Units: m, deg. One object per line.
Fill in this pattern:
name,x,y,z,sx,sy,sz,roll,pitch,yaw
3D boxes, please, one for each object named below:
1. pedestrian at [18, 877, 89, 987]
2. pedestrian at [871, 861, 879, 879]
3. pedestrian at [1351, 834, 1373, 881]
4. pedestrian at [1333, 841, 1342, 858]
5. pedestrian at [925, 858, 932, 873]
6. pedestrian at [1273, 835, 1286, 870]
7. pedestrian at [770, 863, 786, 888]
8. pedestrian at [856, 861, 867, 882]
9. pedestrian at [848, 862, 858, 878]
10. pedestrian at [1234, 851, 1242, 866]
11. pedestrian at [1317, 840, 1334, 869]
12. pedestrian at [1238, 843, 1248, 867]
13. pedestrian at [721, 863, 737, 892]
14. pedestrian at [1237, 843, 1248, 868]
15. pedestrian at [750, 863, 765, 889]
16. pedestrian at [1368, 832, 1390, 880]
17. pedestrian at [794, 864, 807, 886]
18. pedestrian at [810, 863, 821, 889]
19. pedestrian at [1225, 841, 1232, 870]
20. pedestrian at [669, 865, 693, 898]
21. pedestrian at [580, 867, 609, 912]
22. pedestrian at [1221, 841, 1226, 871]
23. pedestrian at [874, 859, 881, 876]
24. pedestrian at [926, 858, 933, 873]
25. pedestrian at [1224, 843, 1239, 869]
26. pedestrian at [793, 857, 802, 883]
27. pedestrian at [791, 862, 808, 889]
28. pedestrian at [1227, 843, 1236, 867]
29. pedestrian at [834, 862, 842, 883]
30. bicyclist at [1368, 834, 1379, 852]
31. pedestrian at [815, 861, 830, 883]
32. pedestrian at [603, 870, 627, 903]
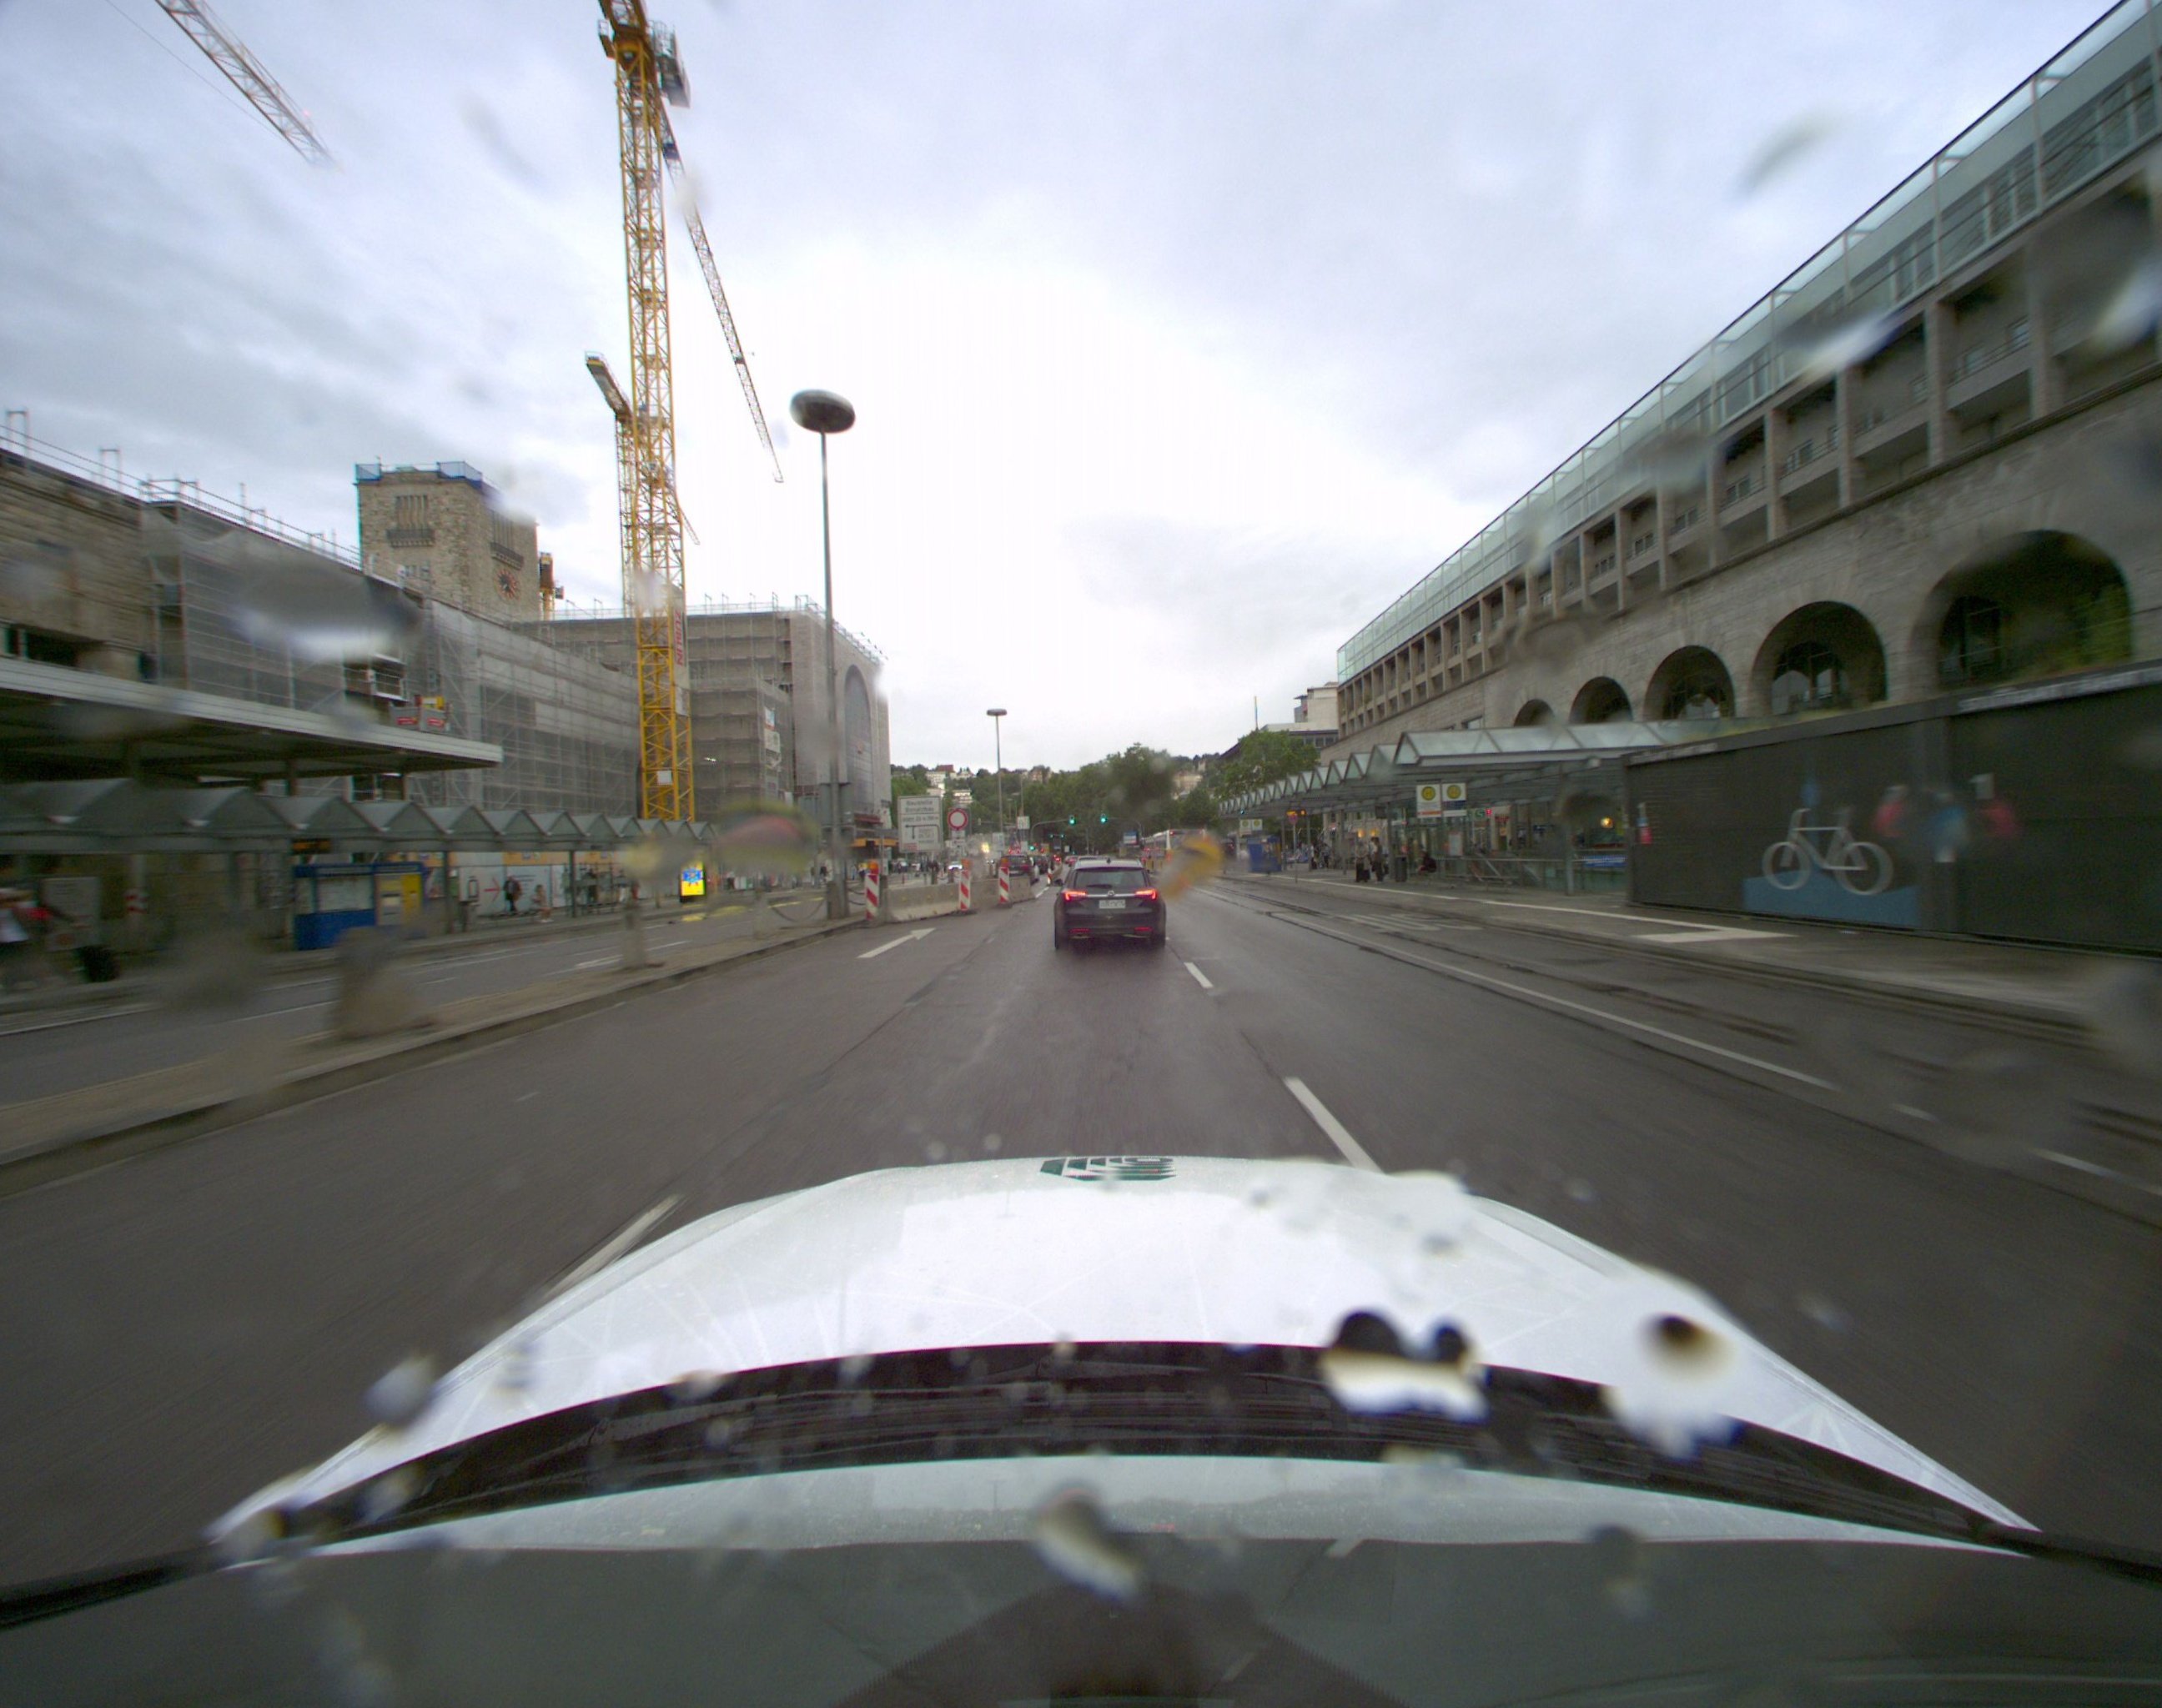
pedestrian,-18.050,1.344,14.325,0.682,1.848,0.551,-2,-1,-44
pedestrian,-20.465,1.582,80.911,0.682,1.685,0.834,-2,0,-14
pedestrian,11.412,0.142,33.065,0.673,1.836,0.574,-2,0,2
pedestrian,27.907,-0.490,88.592,0.729,1.792,0.789,-2,0,-1
pedestrian,-19.812,1.511,105.931,0.696,1.841,0.528,-2,0,-3
pedestrian,12.636,-0.115,51.873,0.588,2.215,0.587,-2,0,2
pedestrian,-23.151,1.633,62.244,0.799,1.841,0.869,-2,0,4
pedestrian,-19.553,1.524,72.492,0.876,1.841,0.834,-2,0,-14
pedestrian,-22.588,1.597,80.766,0.673,1.613,0.839,-2,0,2
pedestrian,13.356,0.411,69.256,0.512,1.232,0.771,-2,0,3
pedestrian,14.844,0.032,49.435,0.745,1.695,0.902,-2,0,3
pedestrian,12.219,0.075,61.313,0.606,1.723,0.592,-2,0,4
pedestrian,-23.055,1.550,53.353,0.739,1.841,0.657,-2,0,3
pedestrian,12.056,0.076,60.679,0.689,1.836,0.558,-2,0,16
pedestrian,-22.927,1.553,57.693,0.718,1.841,0.612,-2,0,3
pedestrian,11.678,0.065,31.922,0.625,1.836,0.642,-2,0,2
pedestrian,-23.907,1.766,69.406,0.799,1.841,0.851,-2,0,3
pedestrian,-19.150,1.563,58.727,0.507,1.841,0.703,-2,0,-6
pedestrian,9.413,0.068,51.939,0.345,1.836,0.533,-2,0,4
pedestrian,-23.085,1.572,46.961,0.854,1.841,1.045,0,0,0
pedestrian,-20.271,1.484,33.937,0.738,1.841,0.705,-2,0,20
pedestrian,9.083,0.127,51.838,0.242,1.836,0.512,-2,0,4
pedestrian,-22.471,1.440,89.981,0.772,1.841,0.831,-2,0,-14
pedestrian,-19.838,1.513,106.643,0.696,1.841,0.877,-1,-1,-2
pedestrian,11.064,0.140,59.768,0.977,1.836,0.839,-2,0,16
pedestrian,-20.149,1.146,57.845,0.336,1.841,0.511,-2,0,16
pedestrian,-19.791,1.503,57.263,0.695,1.841,0.883,-2,0,29
pedestrian,11.346,0.069,61.320,0.563,1.836,0.570,-2,0,3
pedestrian,-21.494,1.622,71.994,0.571,1.841,0.701,-2,0,-14
bicyclist,26.703,-0.978,74.314,0.647,1.554,0.908,-3,-1,2
pedestrian,-21.898,1.517,68.940,0.835,1.841,1.059,-2,0,4
pedestrian,-24.057,1.681,42.055,0.801,1.670,0.700,-2,0,-5
